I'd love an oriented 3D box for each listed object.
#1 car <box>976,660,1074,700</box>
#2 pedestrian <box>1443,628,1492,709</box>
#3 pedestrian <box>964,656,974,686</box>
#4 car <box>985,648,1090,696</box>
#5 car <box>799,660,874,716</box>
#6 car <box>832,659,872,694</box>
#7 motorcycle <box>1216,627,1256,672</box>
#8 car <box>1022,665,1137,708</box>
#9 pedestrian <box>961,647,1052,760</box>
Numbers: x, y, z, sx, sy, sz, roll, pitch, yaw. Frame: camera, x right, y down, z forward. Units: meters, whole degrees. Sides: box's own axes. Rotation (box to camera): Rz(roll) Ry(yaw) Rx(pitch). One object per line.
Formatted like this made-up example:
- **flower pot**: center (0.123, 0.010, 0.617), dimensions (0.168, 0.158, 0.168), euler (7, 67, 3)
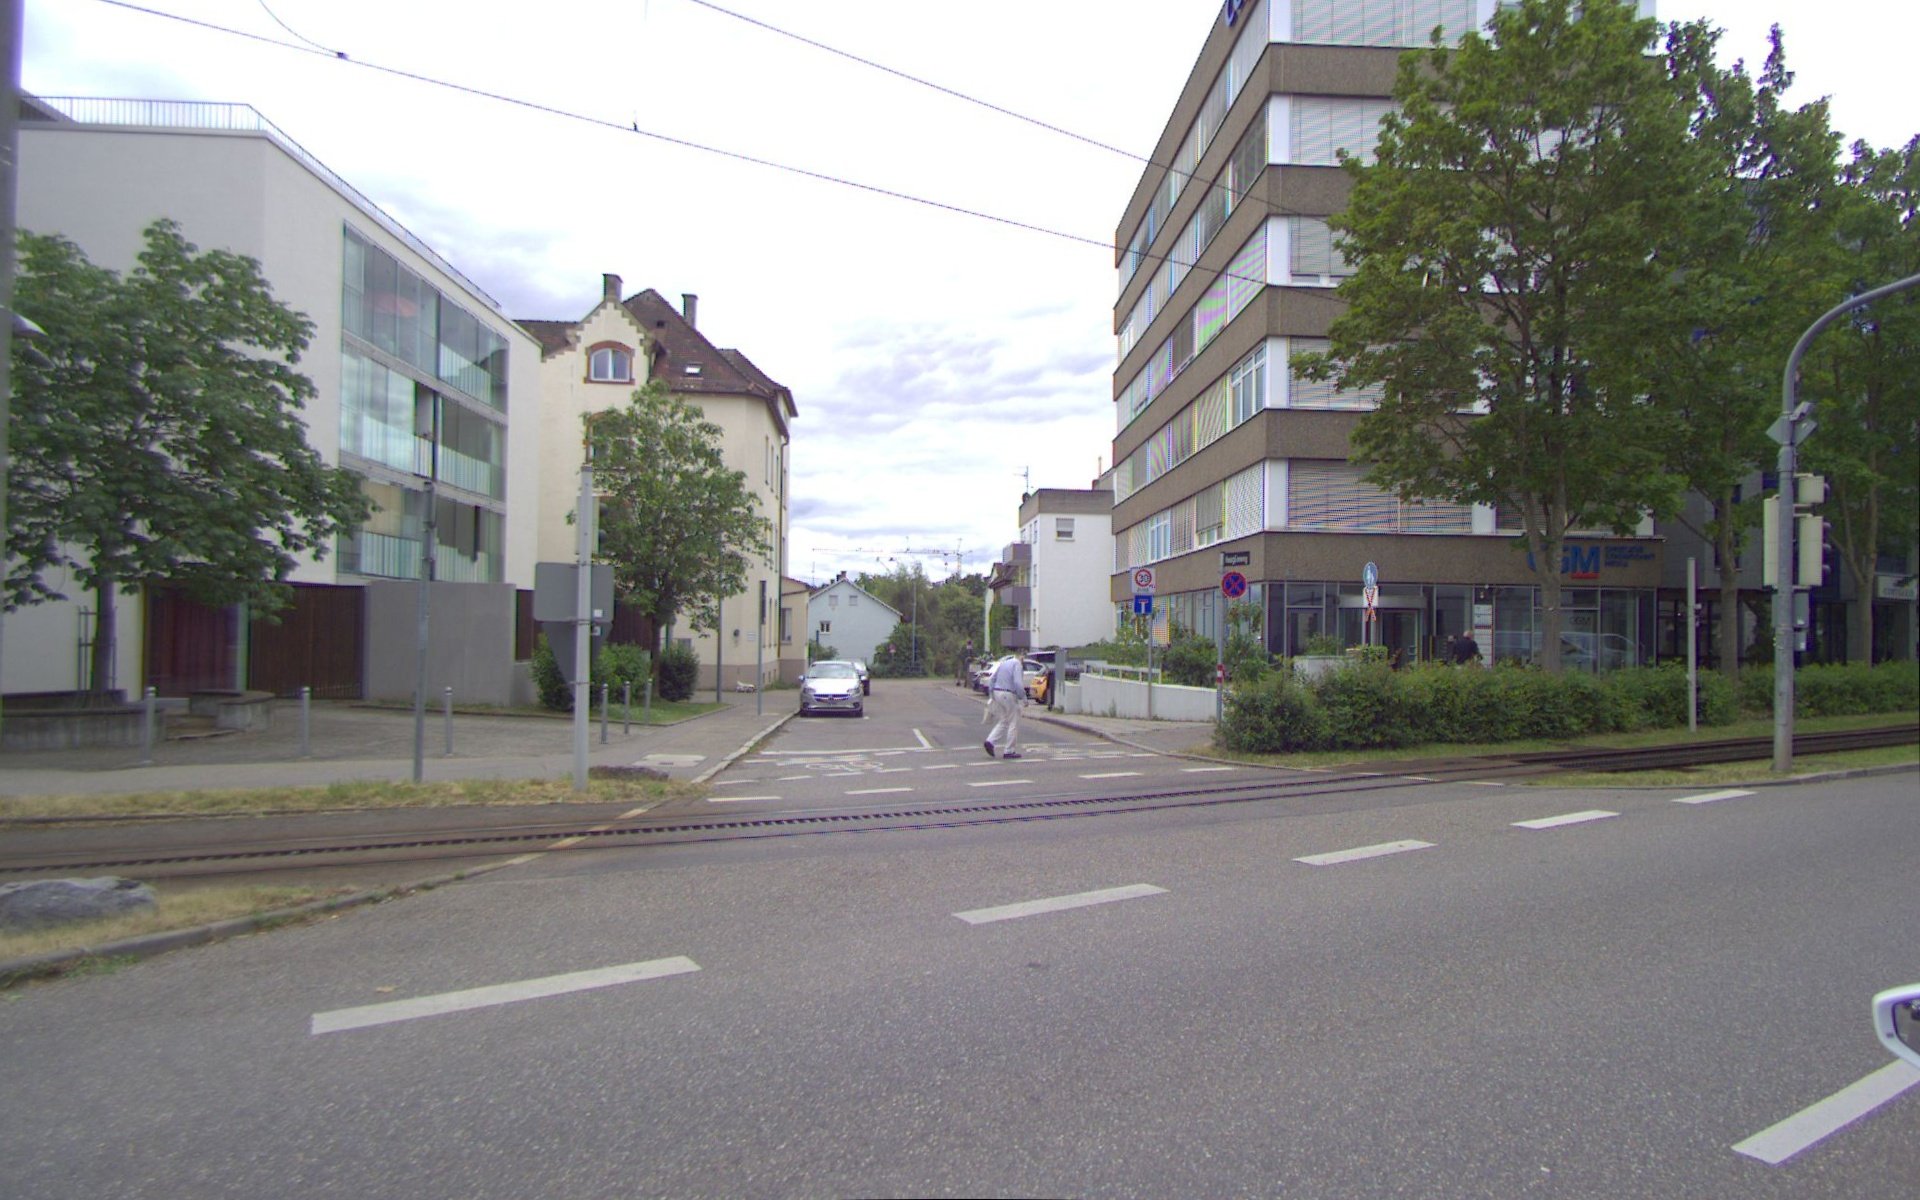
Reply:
- **car**: center (2.803, 3.475, 43.628), dimensions (3.926, 1.594, 1.853), euler (2, -3, -8)
- **pedestrian**: center (11.038, 1.483, 21.847), dimensions (0.674, 1.728, 0.685), euler (3, -3, -26)
- **pedestrian**: center (0.515, 4.230, 59.978), dimensions (0.520, 1.752, 0.467), euler (2, -2, -5)
- **car**: center (3.628, 3.398, 47.420), dimensions (4.601, 2.095, 1.853), euler (2, -3, -8)
- **car**: center (-3.309, 2.371, 27.598), dimensions (1.610, 1.376, 4.001), euler (2, -3, -1)
- **car**: center (-4.978, 3.537, 46.792), dimensions (1.644, 1.521, 3.999), euler (2, -3, -4)
- **motorcycle**: center (7.787, 1.383, 28.429), dimensions (0.557, 1.214, 1.885), euler (2, -2, -1)
- **car**: center (4.412, 3.202, 37.311), dimensions (3.926, 1.443, 1.729), euler (2, -3, -8)
- **pedestrian**: center (0.663, 1.469, 14.456), dimensions (0.984, 1.546, 0.844), euler (3, -3, -30)
